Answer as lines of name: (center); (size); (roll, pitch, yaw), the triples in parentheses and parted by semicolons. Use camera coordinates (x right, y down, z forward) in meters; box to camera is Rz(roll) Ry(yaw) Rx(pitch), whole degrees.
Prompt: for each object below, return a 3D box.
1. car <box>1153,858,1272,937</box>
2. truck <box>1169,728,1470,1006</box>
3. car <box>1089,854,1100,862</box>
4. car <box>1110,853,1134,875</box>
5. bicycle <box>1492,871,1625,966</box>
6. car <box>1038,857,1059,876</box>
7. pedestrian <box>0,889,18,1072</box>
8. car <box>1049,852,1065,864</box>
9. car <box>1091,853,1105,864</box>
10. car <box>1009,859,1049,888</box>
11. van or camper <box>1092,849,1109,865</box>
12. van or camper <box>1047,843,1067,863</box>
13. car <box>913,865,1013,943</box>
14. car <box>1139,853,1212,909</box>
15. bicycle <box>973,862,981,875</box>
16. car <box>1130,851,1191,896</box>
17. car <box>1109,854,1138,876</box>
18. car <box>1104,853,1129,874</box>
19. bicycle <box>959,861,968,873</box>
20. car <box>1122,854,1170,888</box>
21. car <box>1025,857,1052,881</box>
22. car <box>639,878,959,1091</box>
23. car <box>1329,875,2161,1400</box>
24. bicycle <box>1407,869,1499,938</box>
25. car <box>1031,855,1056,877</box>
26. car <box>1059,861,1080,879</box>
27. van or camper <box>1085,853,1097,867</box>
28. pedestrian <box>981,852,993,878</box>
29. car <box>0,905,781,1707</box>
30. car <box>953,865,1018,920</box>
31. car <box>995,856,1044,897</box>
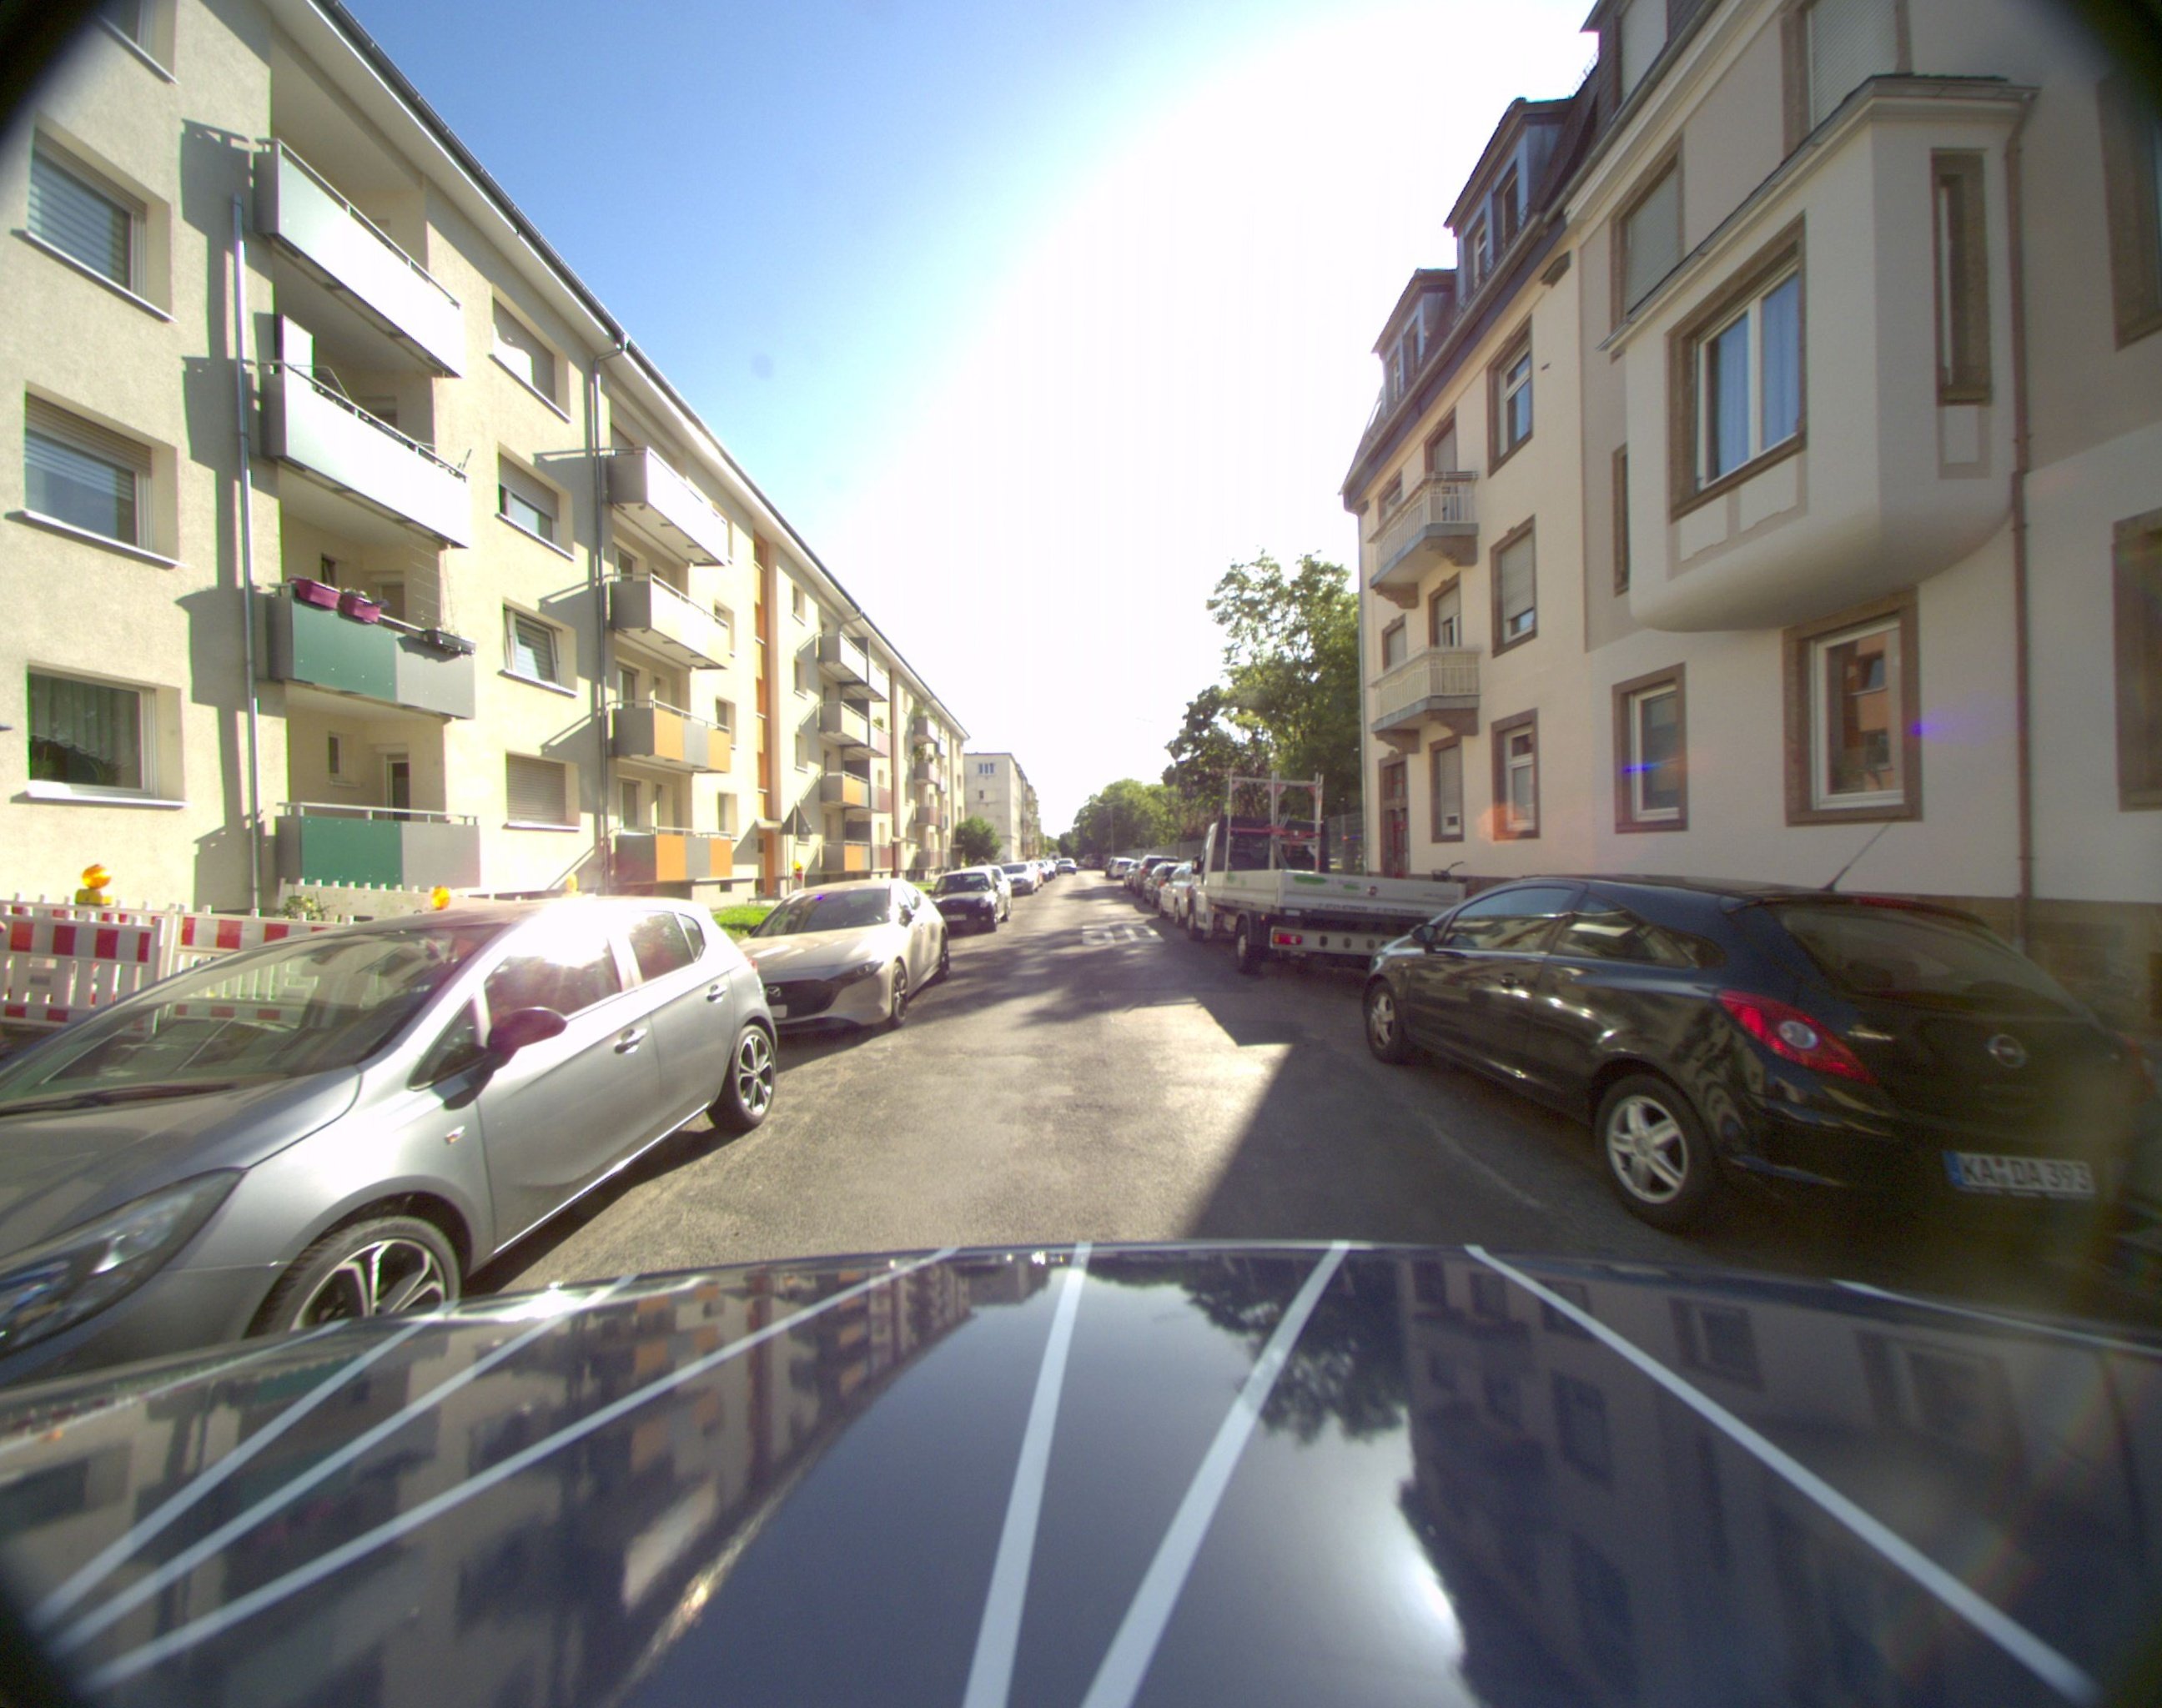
car: (2.992, 0.935, 18.354); (1.797, 1.532, 4.641); (5, -1, -2)
truck: (3.002, 0.108, 11.825); (2.265, 2.969, 7.274); (-1, 1, -1)
car: (2.291, 0.718, 133.357); (1.652, 1.446, 3.999); (-1, 0, -2)
car: (3.172, 0.763, 59.422); (1.568, 1.633, 3.615); (3, 0, -1)
bicycle: (7.229, 0.919, 11.676); (0.571, 1.271, 2.341); (-1, 0, 0)
car: (-2.665, 0.977, 62.484); (1.609, 1.476, 3.797); (-1, 0, -1)
pedestrian: (-8.680, 0.990, 5.743); (0.471, 1.425, 0.577); (1, 0, 3)
car: (-3.182, 0.481, 100.101); (2.070, 1.544, 3.999); (-1, 0, -2)
car: (2.396, 0.616, 108.607); (1.652, 1.408, 3.999); (-1, 0, -2)
car: (-2.805, 1.046, 42.047); (1.756, 1.435, 4.523); (-1, 0, 2)
van or camper: (2.858, 0.385, 114.525); (2.212, 2.268, 5.309); (-1, 0, -2)
van or camper: (-3.830, -0.126, 122.220); (2.958, 3.161, 6.172); (0, 0, -1)
car: (-2.706, 1.110, 18.196); (1.692, 1.458, 3.582); (-5, 1, 1)
car: (2.928, 0.783, 24.376); (1.796, 1.554, 4.459); (-2, 1, 1)
bicycle: (-8.271, 1.115, 60.535); (0.486, 1.006, 2.283); (0, 0, -4)
car: (3.133, 0.710, 30.789); (1.883, 1.654, 4.931); (1, 0, 0)
car: (2.973, 0.755, 53.753); (1.798, 1.436, 4.119); (1, 0, 0)
car: (2.978, 0.791, 64.669); (1.717, 1.654, 4.164); (2, 0, -1)
bicycle: (-9.399, 1.032, 60.608); (0.486, 0.955, 2.283); (0, 0, -4)
car: (3.109, 0.779, 37.085); (1.799, 1.462, 4.501); (1, 0, -1)
car: (-2.842, 0.959, 51.536); (1.757, 1.472, 4.079); (-1, 0, -2)
car: (-2.689, 1.157, 8.483); (1.796, 1.462, 4.338); (-5, 1, 1)
car: (3.028, 0.952, 4.372); (1.650, 1.408, 4.079); (3, 1, -2)
bicycle: (7.077, 0.896, 14.601); (0.631, 1.196, 2.341); (-1, 0, 0)
car: (-2.785, 0.879, 57.105); (1.757, 1.550, 4.254); (-1, 0, -2)
car: (-1.191, 1.583, 76.226); (1.862, 1.543, 3.997); (-4, 2, -2)
van or camper: (1.948, 1.131, 145.228); (2.126, 2.484, 3.999); (-1, 0, -2)
pedestrian: (-6.359, 0.742, 51.389); (0.646, 1.761, 0.841); (-1, 1, 2)
car: (-2.810, 1.109, 3.016); (1.649, 1.451, 3.939); (-2, 1, 0)
car: (-2.846, 1.105, 23.278); (1.690, 1.454, 3.818); (-1, 0, -3)
car: (-2.714, 0.953, 34.587); (1.903, 1.612, 4.601); (-3, 0, -1)
